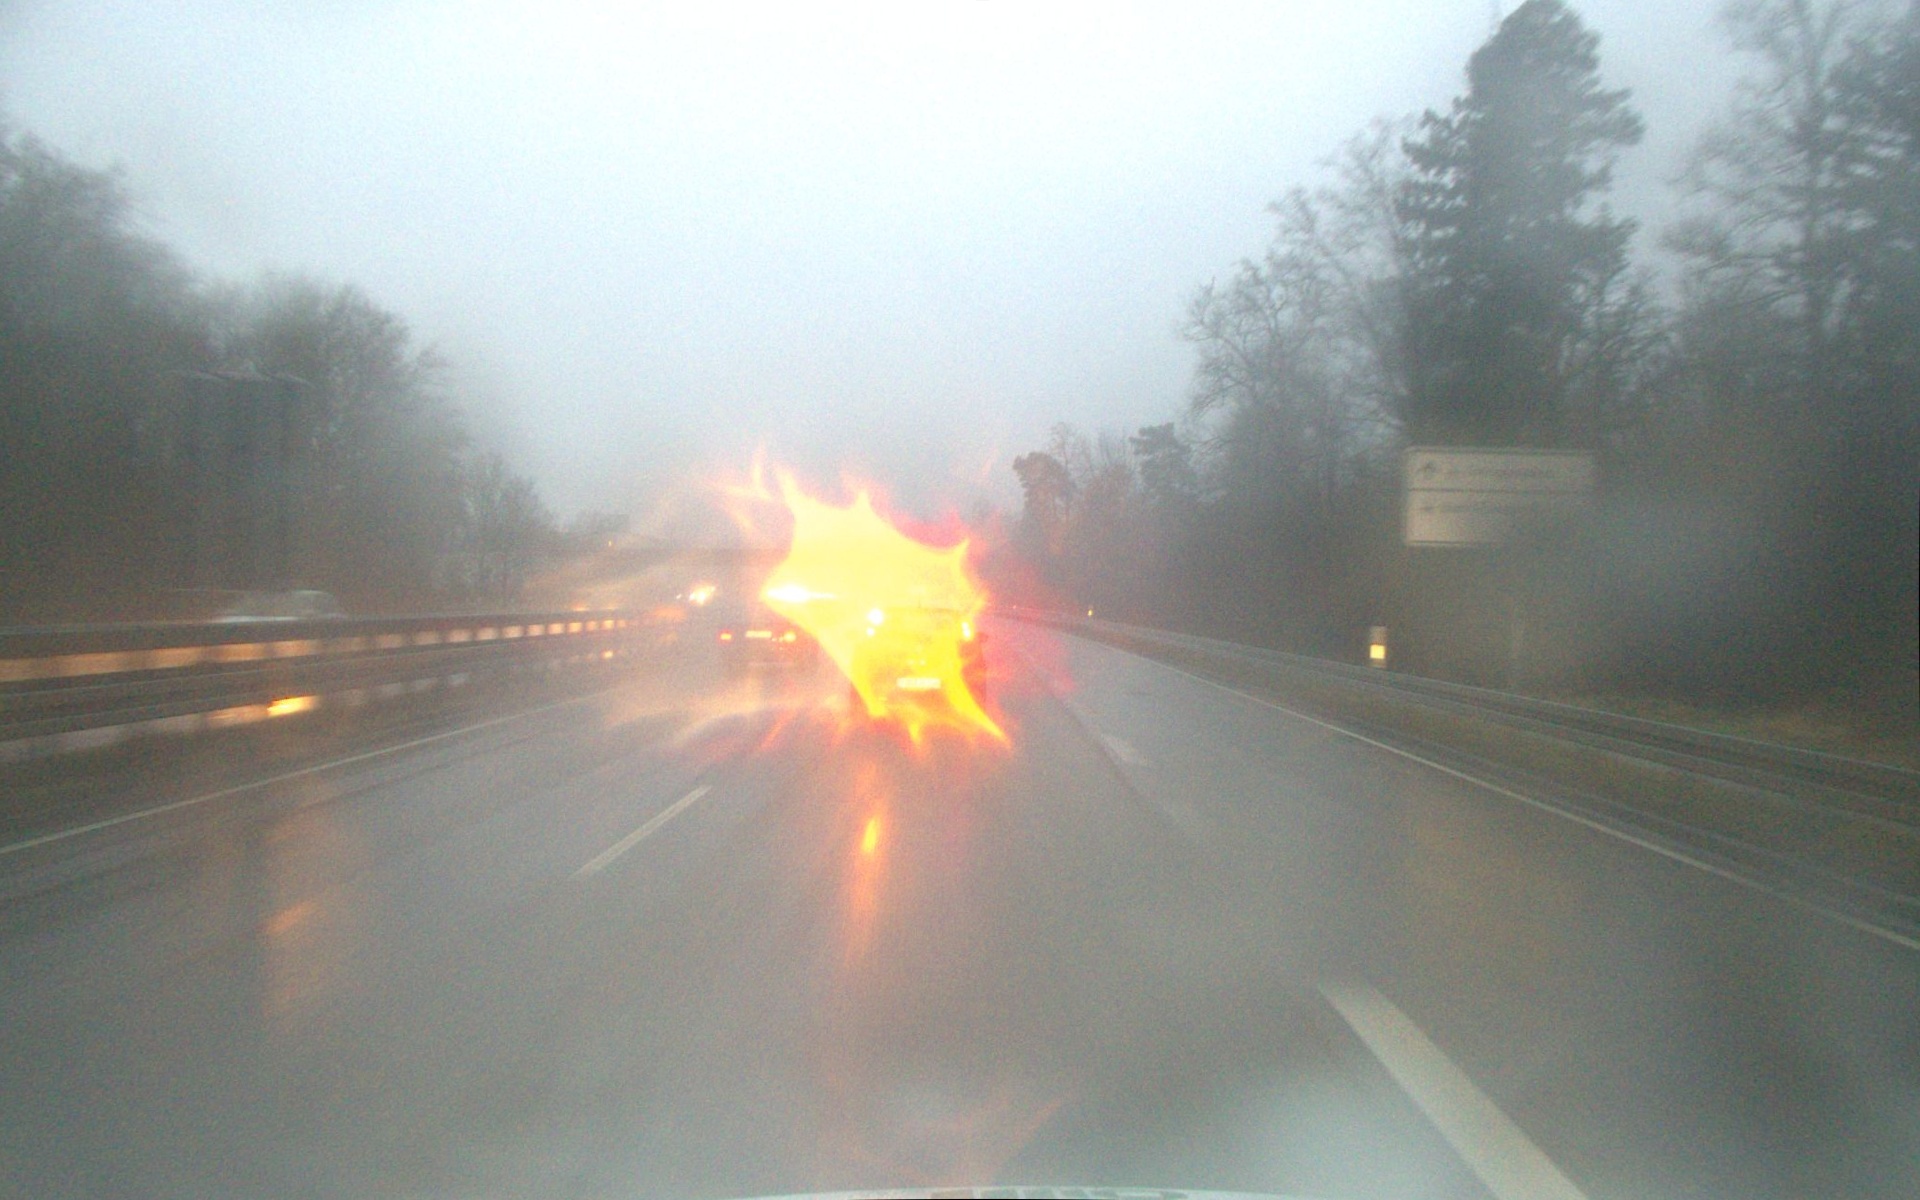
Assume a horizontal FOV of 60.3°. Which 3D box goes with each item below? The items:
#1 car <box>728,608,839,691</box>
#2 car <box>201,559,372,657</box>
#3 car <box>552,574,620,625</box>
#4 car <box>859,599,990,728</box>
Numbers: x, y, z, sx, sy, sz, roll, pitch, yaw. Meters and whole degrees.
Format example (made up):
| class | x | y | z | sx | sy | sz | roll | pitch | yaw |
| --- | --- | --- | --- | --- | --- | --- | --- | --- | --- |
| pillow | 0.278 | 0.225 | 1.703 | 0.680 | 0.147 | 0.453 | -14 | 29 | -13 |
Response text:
| class | x | y | z | sx | sy | sz | roll | pitch | yaw |
| --- | --- | --- | --- | --- | --- | --- | --- | --- | --- |
| car | -3.575 | 0.978 | 34.220 | 1.739 | 1.561 | 4.702 | -1 | -1 | 0 |
| car | -13.629 | 0.142 | 33.717 | 1.716 | 1.784 | 3.941 | 3 | 0 | 1 |
| car | -14.560 | -0.040 | 64.626 | 1.610 | 1.816 | 4.207 | 3 | 0 | 0 |
| car | -0.425 | 0.759 | 21.626 | 1.496 | 1.440 | 3.479 | 3 | 0 | 0 |
